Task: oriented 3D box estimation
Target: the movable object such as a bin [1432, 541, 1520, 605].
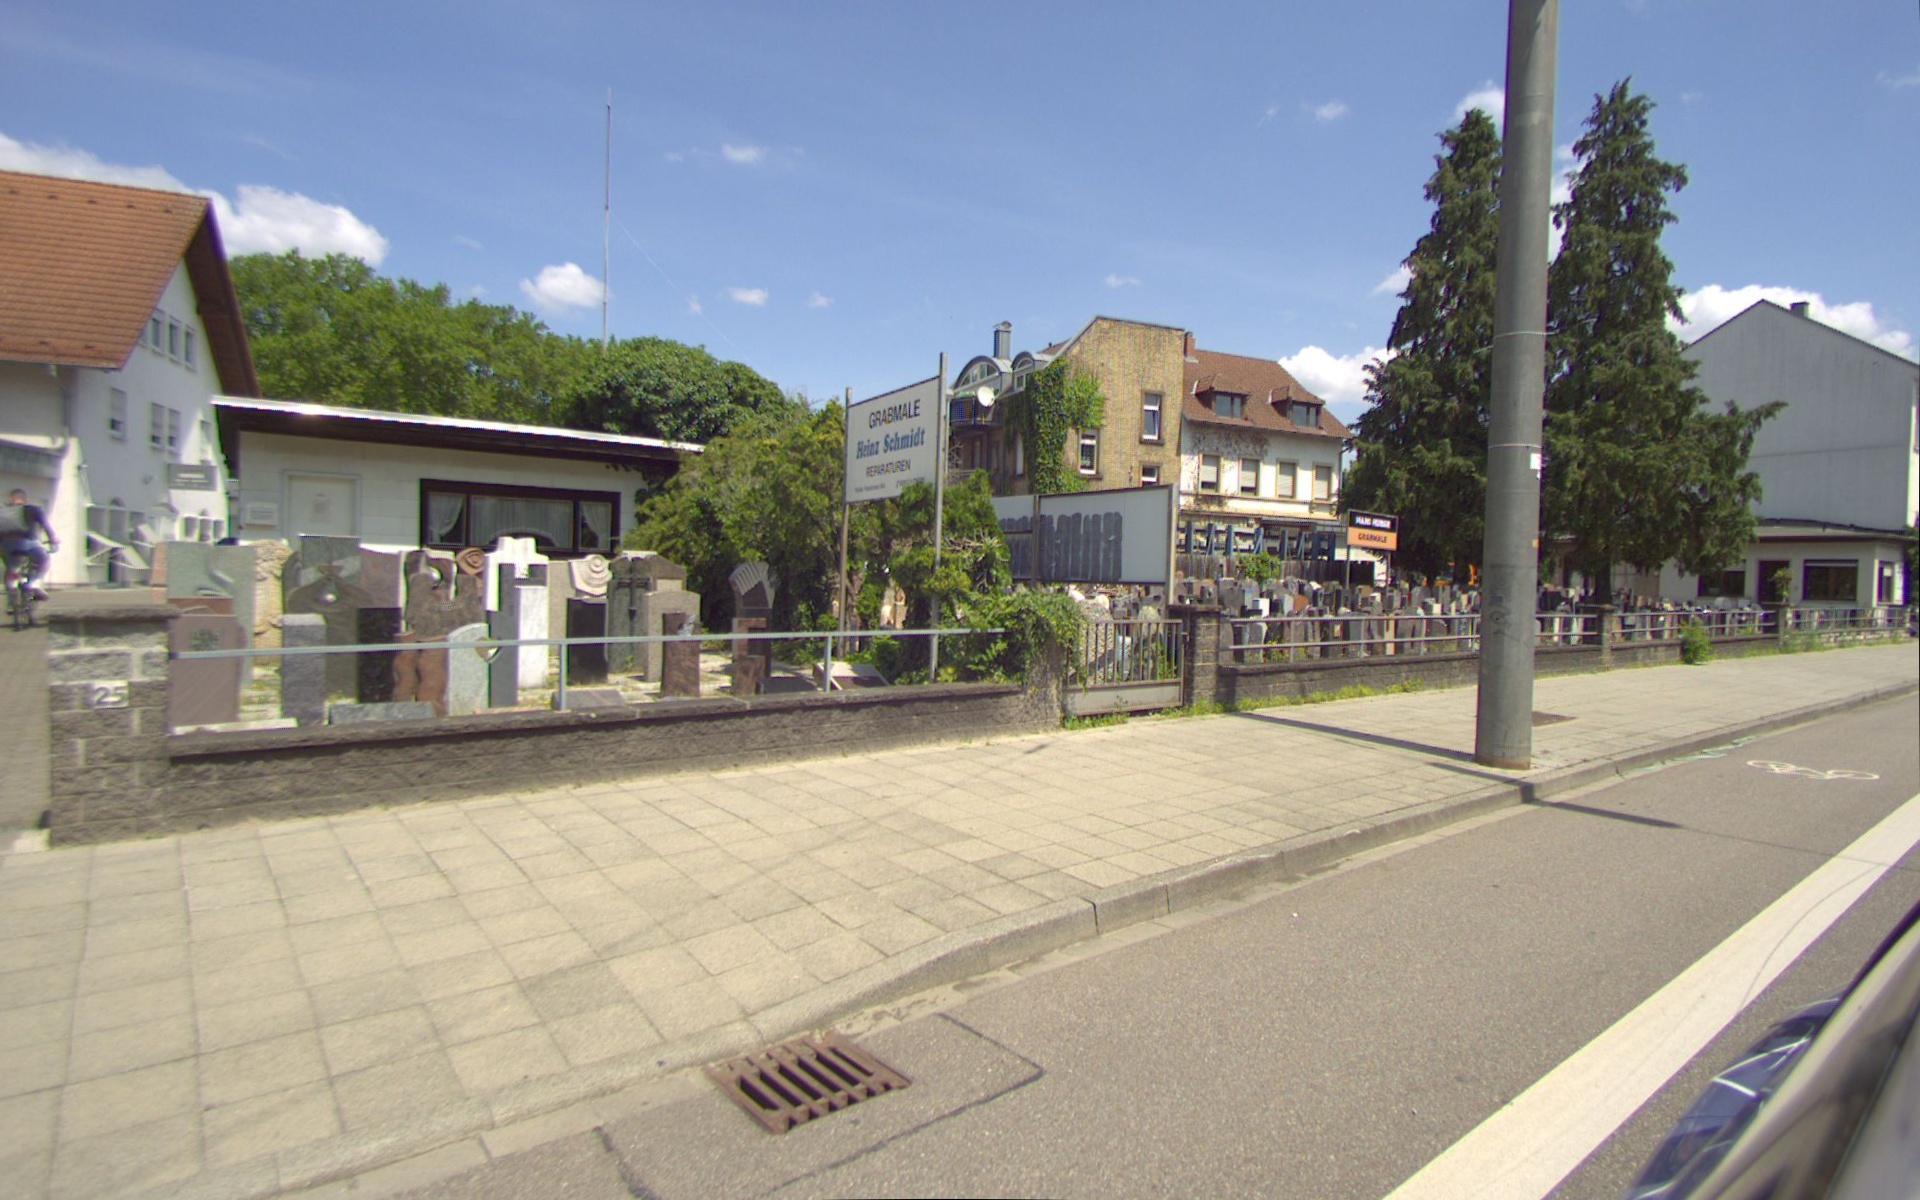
[{"bbox_3d":[22.355,-1.170,43.789,3.737,2.650,1.746,0,4,-35],"label":"movable object such as a bin"}]
